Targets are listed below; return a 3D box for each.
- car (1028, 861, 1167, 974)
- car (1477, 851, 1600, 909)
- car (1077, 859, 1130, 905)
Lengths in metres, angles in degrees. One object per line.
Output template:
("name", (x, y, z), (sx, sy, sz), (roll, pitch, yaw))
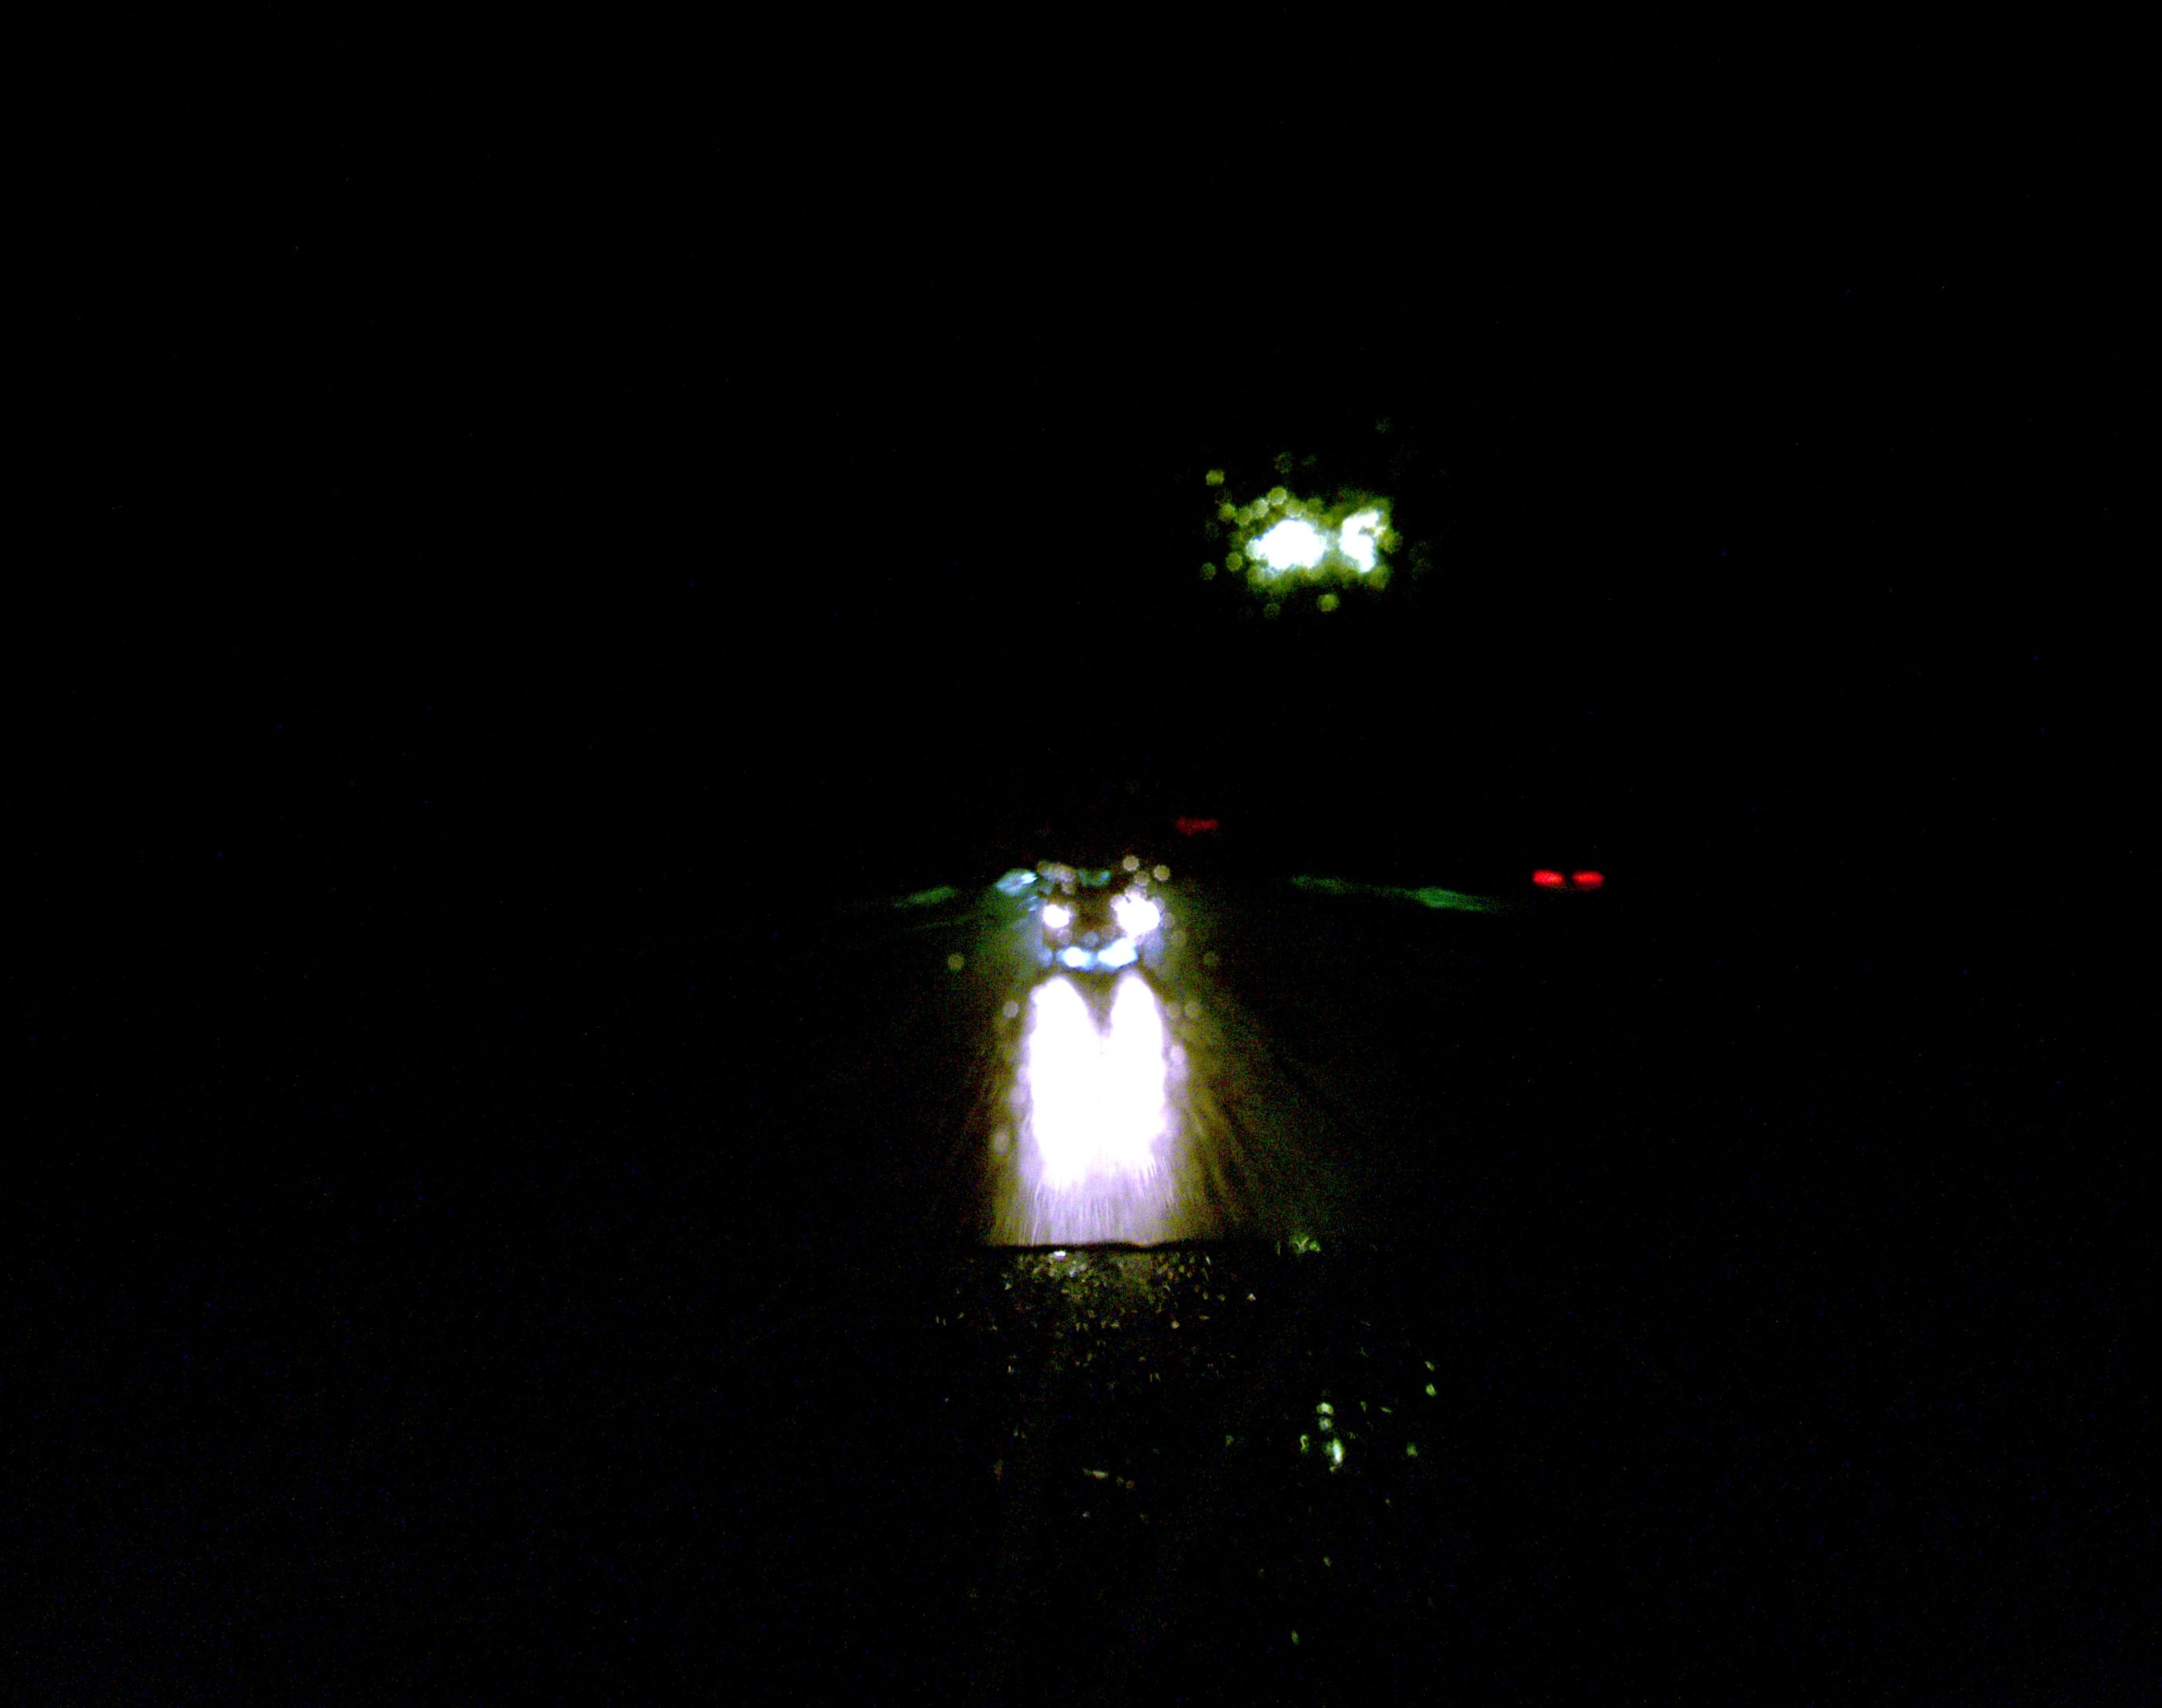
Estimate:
("car", (0.385, 0.901, 12.522), (1.848, 1.440, 4.001), (-3, 0, 5))
("car", (14.319, 0.751, 24.044), (1.604, 1.543, 3.833), (-3, 1, 2))
("car", (0.948, 1.040, 29.726), (1.848, 1.441, 3.875), (-3, 1, 4))
